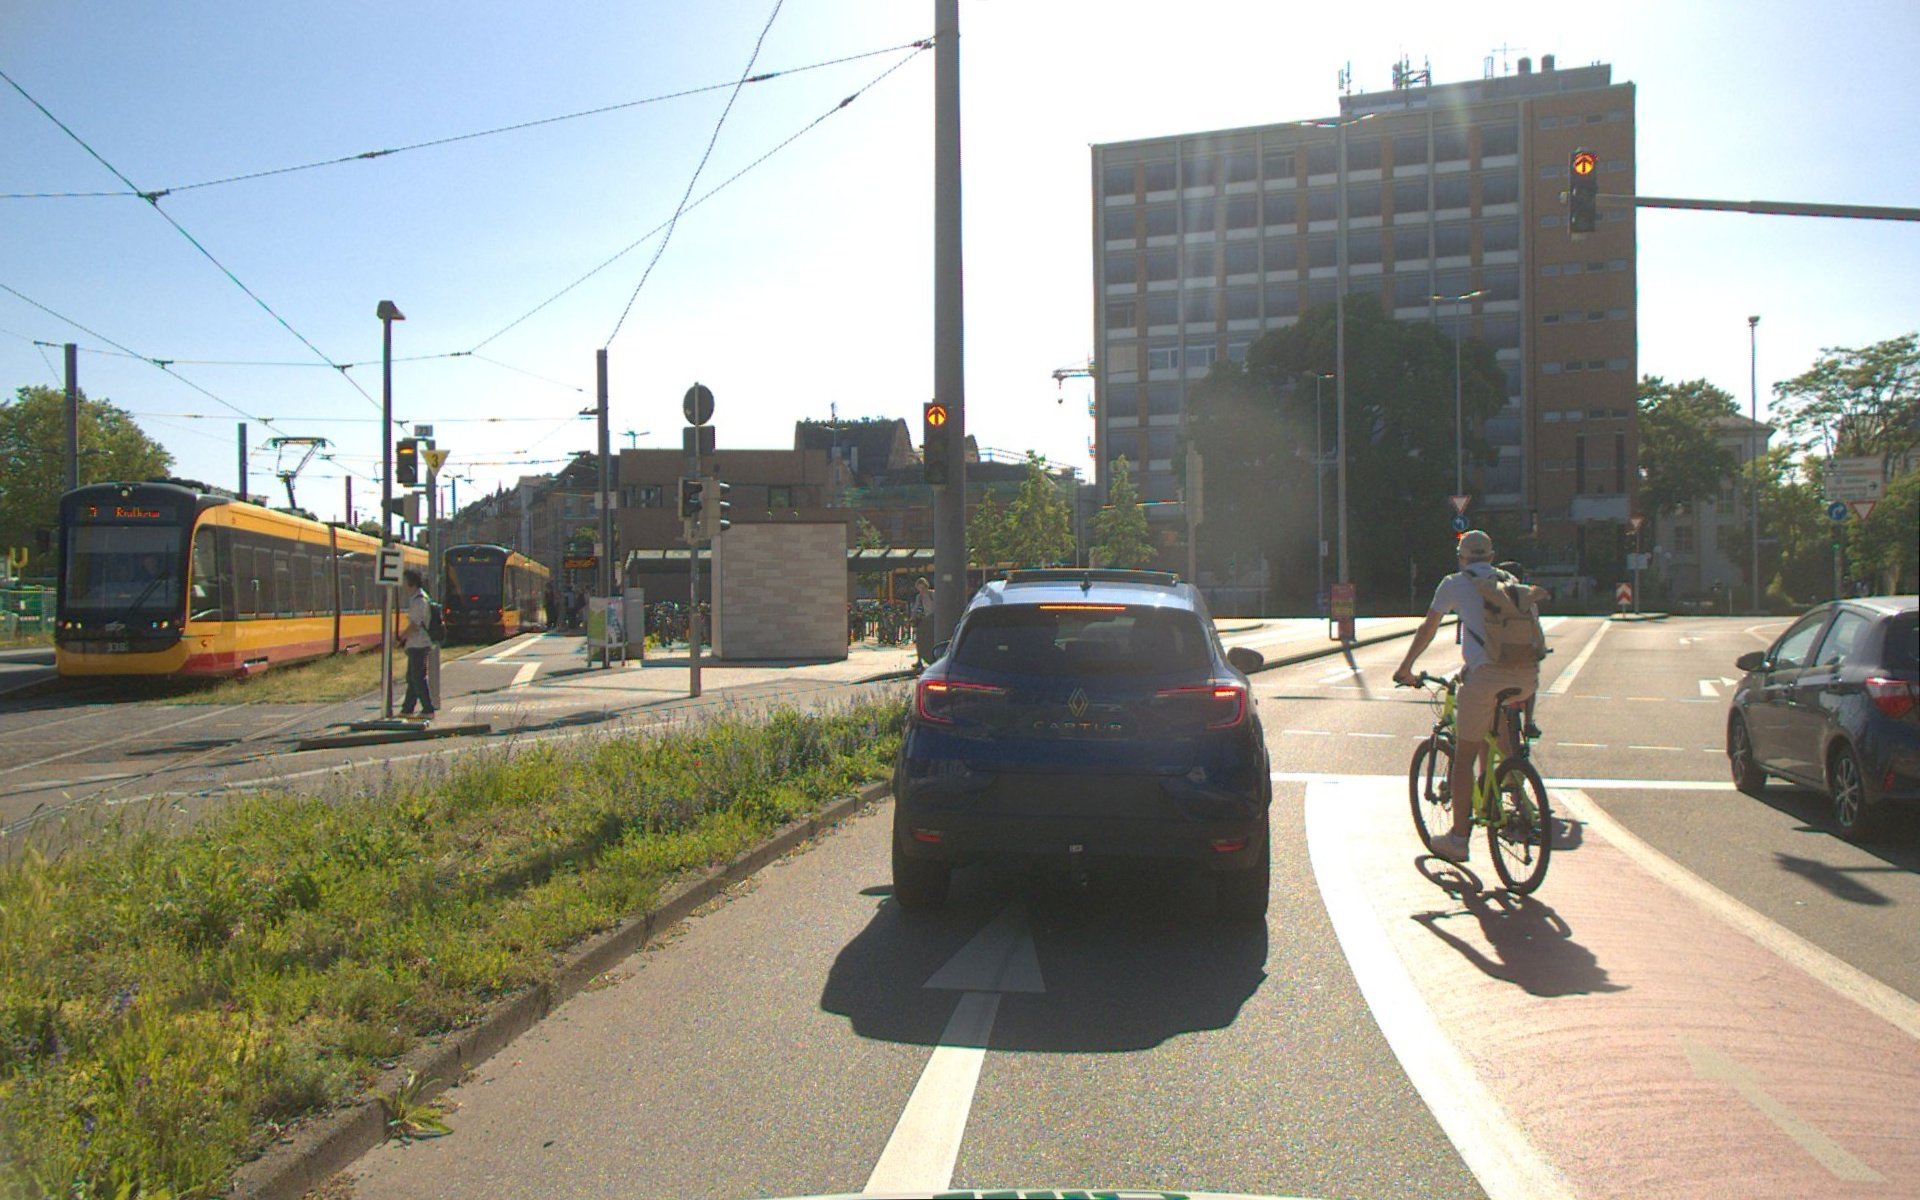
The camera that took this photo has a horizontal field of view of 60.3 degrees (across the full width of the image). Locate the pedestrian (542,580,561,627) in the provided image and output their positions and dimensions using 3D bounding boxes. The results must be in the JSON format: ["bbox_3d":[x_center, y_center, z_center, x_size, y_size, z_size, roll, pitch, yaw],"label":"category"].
[{"bbox_3d":[-17.098,0.151,69.308,0.727,1.951,0.739,1,-1,-13],"label":"pedestrian"}]

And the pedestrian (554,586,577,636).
[{"bbox_3d":[-15.336,0.421,64.293,0.833,1.916,0.758,1,-1,-14],"label":"pedestrian"}]

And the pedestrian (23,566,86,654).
[{"bbox_3d":[-21.310,0.240,38.941,0.942,2.049,0.998,1,-1,-6],"label":"pedestrian"}]

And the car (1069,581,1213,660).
[{"bbox_3d":[3.607,0.361,32.297,1.763,1.417,4.093,-1,0,21],"label":"car"}]

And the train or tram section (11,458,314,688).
[{"bbox_3d":[-14.461,-0.448,31.010,2.769,3.569,10.445,-1,0,-13],"label":"train or tram section"}]

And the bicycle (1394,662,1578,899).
[{"bbox_3d":[2.806,0.913,8.992,0.648,1.065,1.892,0,0,8],"label":"bicycle"}]

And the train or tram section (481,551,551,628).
[{"bbox_3d":[-22.012,-0.500,82.372,2.821,3.569,10.510,0,0,-12],"label":"train or tram section"}]

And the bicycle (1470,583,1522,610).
[{"bbox_3d":[30.874,-0.199,95.258,2.747,1.568,0.883,0,-1,27],"label":"bicycle"}]

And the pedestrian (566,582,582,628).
[{"bbox_3d":[-16.084,0.225,68.909,0.622,1.889,0.699,1,-1,-17],"label":"pedestrian"}]

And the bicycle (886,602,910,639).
[{"bbox_3d":[-1.926,0.638,51.112,0.569,1.107,2.055,1,-1,-7],"label":"bicycle"}]

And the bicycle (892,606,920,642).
[{"bbox_3d":[-1.486,0.663,45.455,0.569,0.978,2.055,1,-1,-7],"label":"bicycle"}]

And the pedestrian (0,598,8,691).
[{"bbox_3d":[-19.069,0.867,32.043,0.848,1.798,0.969,-1,0,-16],"label":"pedestrian"}]

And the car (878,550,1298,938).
[{"bbox_3d":[0.761,0.599,8.945,1.784,1.628,3.661,1,0,7],"label":"car"}]

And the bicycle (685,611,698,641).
[{"bbox_3d":[-8.946,0.863,55.162,0.414,0.954,1.376,1,0,-9],"label":"bicycle"}]

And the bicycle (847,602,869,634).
[{"bbox_3d":[-3.610,0.626,58.558,0.570,1.107,1.867,1,-1,-9],"label":"bicycle"}]

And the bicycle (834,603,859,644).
[{"bbox_3d":[-3.096,0.643,45.030,0.569,1.076,1.813,1,-1,-7],"label":"bicycle"}]

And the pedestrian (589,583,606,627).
[{"bbox_3d":[-16.342,0.243,74.533,0.727,1.951,0.739,1,-1,-15],"label":"pedestrian"}]

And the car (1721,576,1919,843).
[{"bbox_3d":[6.639,0.637,11.393,1.718,1.568,3.662,0,0,11],"label":"car"}]

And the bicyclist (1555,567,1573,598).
[{"bbox_3d":[34.216,-1.007,93.700,0.841,1.721,0.883,0,-1,26],"label":"bicyclist"}]

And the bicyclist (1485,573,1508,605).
[{"bbox_3d":[30.880,-0.649,95.260,1.134,1.829,0.883,0,-1,27],"label":"bicyclist"}]

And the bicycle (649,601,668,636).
[{"bbox_3d":[-9.961,0.622,54.754,0.555,1.112,2.025,1,-1,-9],"label":"bicycle"}]

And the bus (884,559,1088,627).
[{"bbox_3d":[1.215,-0.304,89.872,12.223,3.455,2.865,0,-1,42],"label":"bus"}]

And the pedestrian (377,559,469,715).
[{"bbox_3d":[-6.592,0.453,20.290,1.002,1.864,0.755,1,-1,-23],"label":"pedestrian"}]

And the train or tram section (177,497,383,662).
[{"bbox_3d":[-16.633,-0.447,41.274,2.767,3.569,10.580,0,0,-11],"label":"train or tram section"}]

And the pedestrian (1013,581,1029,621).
[{"bbox_3d":[2.950,0.044,79.843,0.710,1.889,0.703,0,-1,10],"label":"pedestrian"}]

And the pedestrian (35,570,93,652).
[{"bbox_3d":[-22.681,0.276,41.868,0.942,2.049,0.998,1,-1,-6],"label":"pedestrian"}]

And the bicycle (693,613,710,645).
[{"bbox_3d":[-7.891,0.869,50.446,0.414,0.954,1.301,1,0,-13],"label":"bicycle"}]

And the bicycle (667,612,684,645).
[{"bbox_3d":[-8.626,0.858,50.130,0.414,0.954,1.301,1,0,-13],"label":"bicycle"}]

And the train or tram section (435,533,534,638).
[{"bbox_3d":[-17.621,-0.511,61.859,2.821,3.569,10.510,0,0,-12],"label":"train or tram section"}]

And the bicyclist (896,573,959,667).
[{"bbox_3d":[-0.596,0.362,30.362,0.861,1.673,1.061,-1,-1,16],"label":"bicyclist"}]

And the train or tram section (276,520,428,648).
[{"bbox_3d":[-18.796,-0.451,51.843,2.766,3.569,11.178,0,0,-11],"label":"train or tram section"}]

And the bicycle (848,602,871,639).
[{"bbox_3d":[-3.112,0.628,51.068,0.569,1.107,2.055,1,-1,-7],"label":"bicycle"}]

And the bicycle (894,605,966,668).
[{"bbox_3d":[-0.535,0.655,30.353,0.757,1.099,2.037,-1,0,16],"label":"bicycle"}]

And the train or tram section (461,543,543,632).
[{"bbox_3d":[-19.840,-0.498,72.116,2.821,3.569,10.510,0,0,-12],"label":"train or tram section"}]

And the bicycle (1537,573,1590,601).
[{"bbox_3d":[34.216,-0.741,93.712,2.747,1.568,0.883,0,-1,27],"label":"bicycle"}]

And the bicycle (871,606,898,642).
[{"bbox_3d":[-2.088,0.657,45.382,0.569,0.978,2.055,1,-1,-7],"label":"bicycle"}]

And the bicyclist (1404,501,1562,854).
[{"bbox_3d":[2.779,0.389,8.871,0.649,1.778,1.006,0,0,8],"label":"bicyclist"}]

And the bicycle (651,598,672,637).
[{"bbox_3d":[-8.729,0.526,48.414,0.555,1.112,2.025,1,-1,-9],"label":"bicycle"}]

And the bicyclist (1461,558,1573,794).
[{"bbox_3d":[4.084,0.526,12.193,0.706,1.654,1.056,1,0,15],"label":"bicyclist"}]

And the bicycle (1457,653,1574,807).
[{"bbox_3d":[4.114,0.925,12.360,0.707,0.976,1.885,1,1,15],"label":"bicycle"}]
